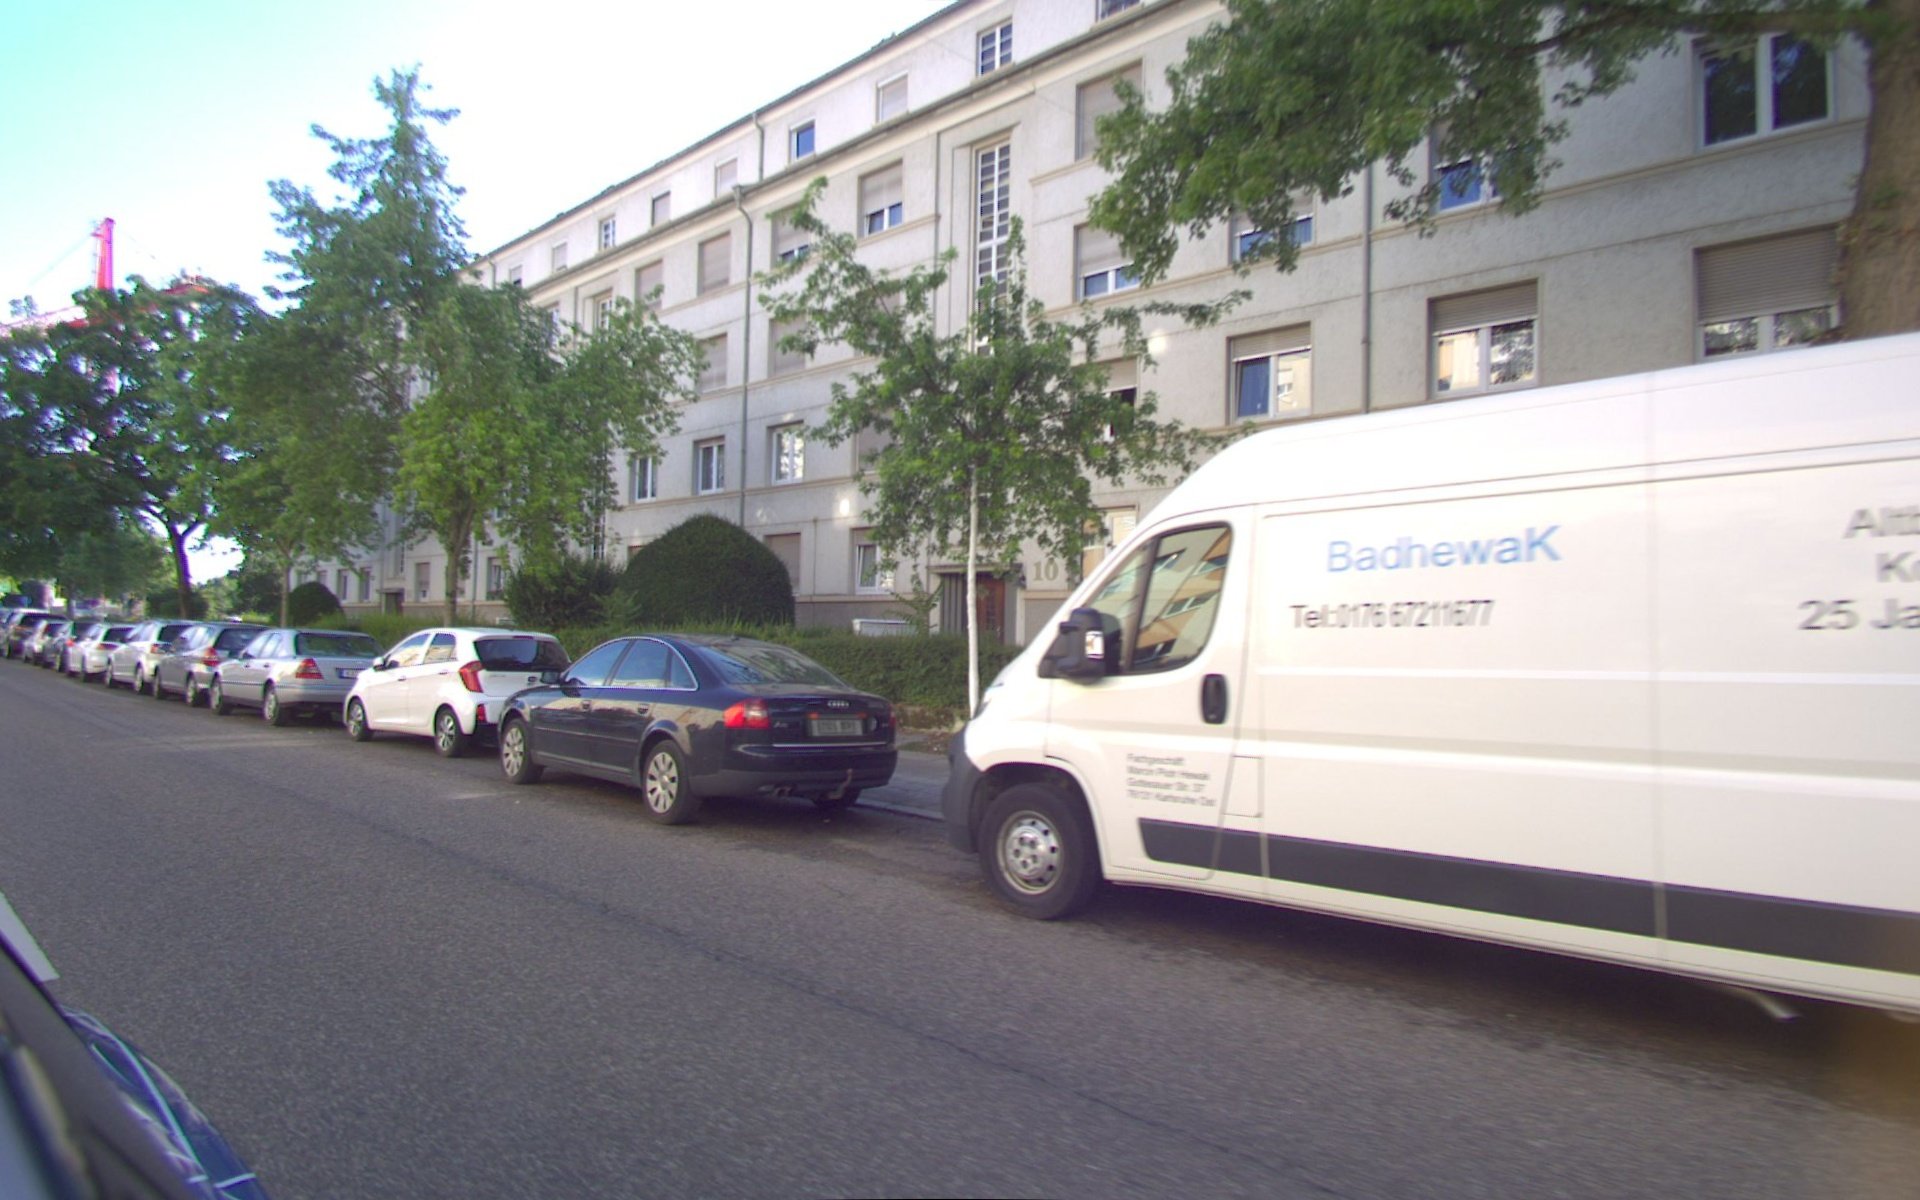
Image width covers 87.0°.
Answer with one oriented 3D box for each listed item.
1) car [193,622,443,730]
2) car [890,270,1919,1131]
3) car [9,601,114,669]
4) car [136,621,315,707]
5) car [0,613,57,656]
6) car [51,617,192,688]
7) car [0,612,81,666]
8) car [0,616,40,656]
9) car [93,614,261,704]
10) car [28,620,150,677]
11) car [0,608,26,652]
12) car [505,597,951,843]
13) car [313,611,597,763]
[{"bbox_3d":[-10.111,1.143,15.798,4.649,1.365,1.855,0,-6,40],"label":"car"},{"bbox_3d":[2.749,0.356,4.464,6.163,2.464,2.333,0,-5,42],"label":"car"},{"bbox_3d":[-29.172,1.117,32.836,3.999,2.029,1.972,0,-4,42],"label":"car"},{"bbox_3d":[-14.071,1.136,19.323,3.996,1.365,1.854,0,0,40],"label":"car"},{"bbox_3d":[-37.838,1.353,40.595,3.996,1.564,1.854,0,0,40],"label":"car"},{"bbox_3d":[-21.324,1.253,25.686,4.468,1.564,1.984,0,0,40],"label":"car"},{"bbox_3d":[-33.424,1.363,36.406,4.685,1.772,1.855,0,-3,39],"label":"car"},{"bbox_3d":[-41.272,1.535,43.591,3.996,1.563,1.855,0,2,39],"label":"car"},{"bbox_3d":[-17.232,1.266,22.218,3.996,1.563,1.855,0,-10,39],"label":"car"},{"bbox_3d":[-25.274,1.378,29.318,4.799,1.445,1.854,0,-2,40],"label":"car"},{"bbox_3d":[-44.902,1.394,47.012,4.486,1.910,1.822,0,1,42],"label":"car"},{"bbox_3d":[-2.081,0.839,8.480,3.819,1.586,1.689,0,-5,43],"label":"car"},{"bbox_3d":[-6.271,1.018,12.516,3.253,1.586,1.693,1,-5,35],"label":"car"}]
